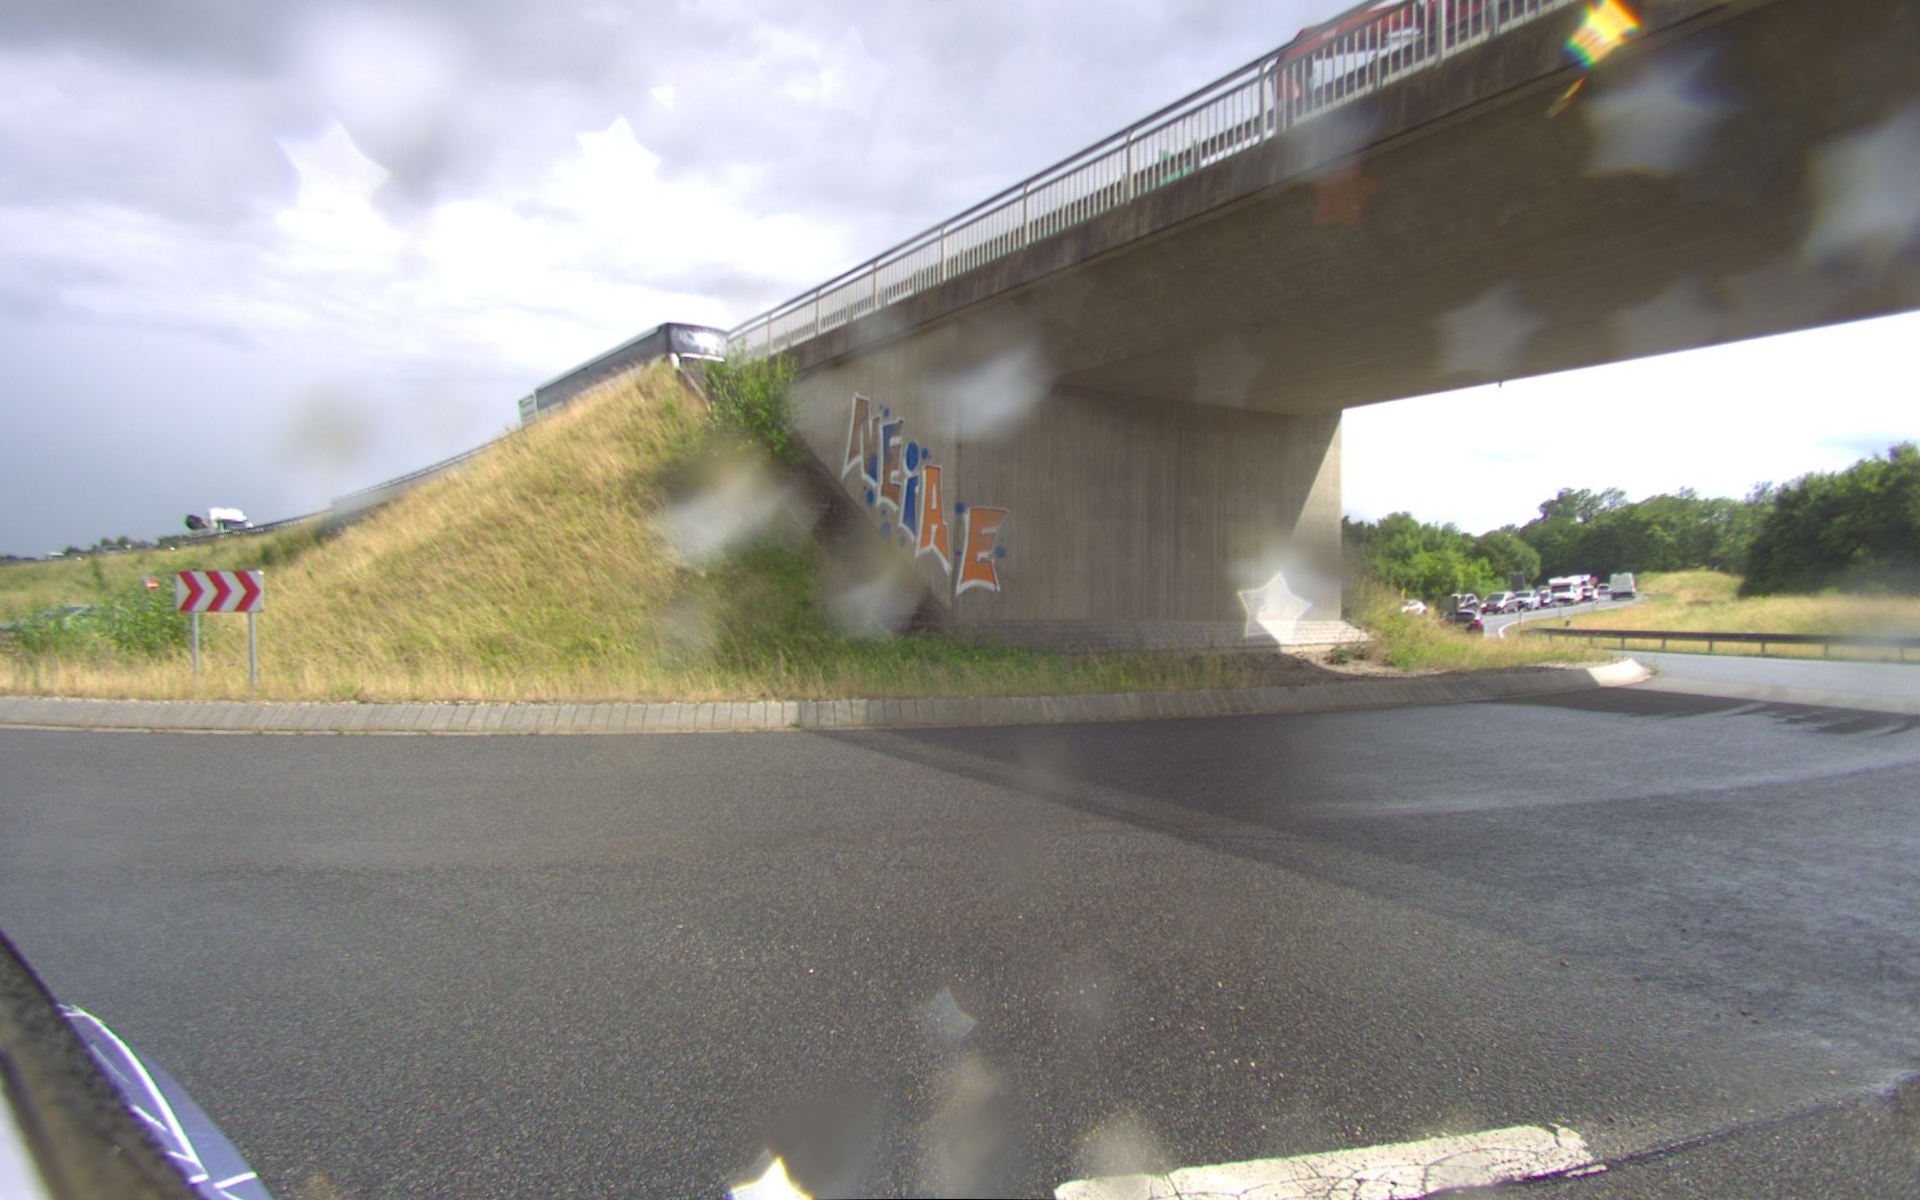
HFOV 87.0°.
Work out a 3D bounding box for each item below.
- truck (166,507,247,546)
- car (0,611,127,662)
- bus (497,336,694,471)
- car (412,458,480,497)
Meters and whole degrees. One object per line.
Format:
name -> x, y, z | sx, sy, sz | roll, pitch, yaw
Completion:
truck -> -71.743, -6.904, 96.294 | 9.250, 3.218, 3.127 | 0, 1, 32
car -> -29.357, 1.139, 32.896 | 1.549, 1.548, 3.932 | 0, -1, -4
bus -> -15.111, -7.455, 40.654 | 2.572, 3.102, 14.489 | -2, 1, -40
car -> -27.696, -6.582, 54.439 | 4.495, 1.536, 1.691 | 0, 11, 44
